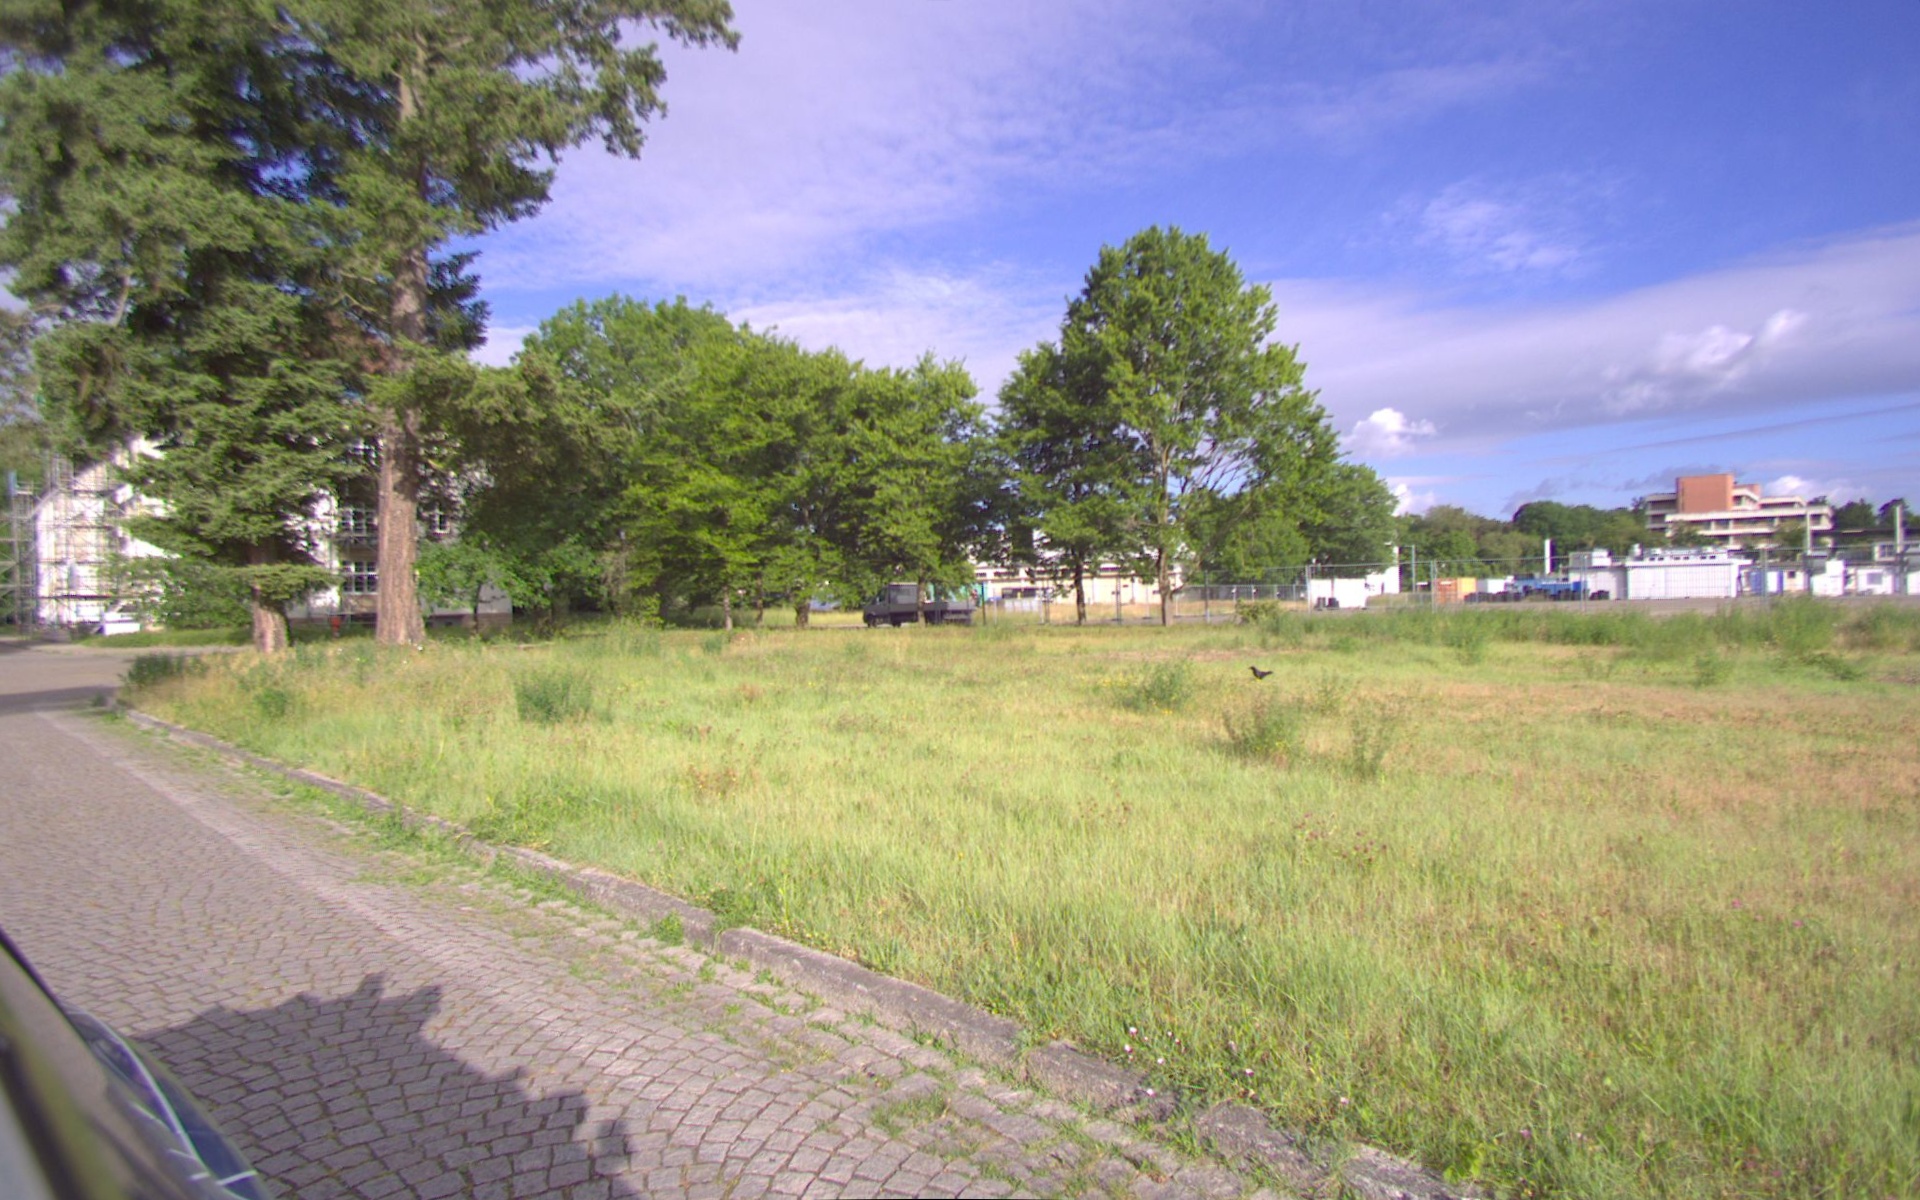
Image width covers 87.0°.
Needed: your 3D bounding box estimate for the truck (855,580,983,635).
[{"bbox_3d":[-2.192,0.413,51.420,2.384,2.606,6.963,-1,0,-44],"label":"truck"}]
